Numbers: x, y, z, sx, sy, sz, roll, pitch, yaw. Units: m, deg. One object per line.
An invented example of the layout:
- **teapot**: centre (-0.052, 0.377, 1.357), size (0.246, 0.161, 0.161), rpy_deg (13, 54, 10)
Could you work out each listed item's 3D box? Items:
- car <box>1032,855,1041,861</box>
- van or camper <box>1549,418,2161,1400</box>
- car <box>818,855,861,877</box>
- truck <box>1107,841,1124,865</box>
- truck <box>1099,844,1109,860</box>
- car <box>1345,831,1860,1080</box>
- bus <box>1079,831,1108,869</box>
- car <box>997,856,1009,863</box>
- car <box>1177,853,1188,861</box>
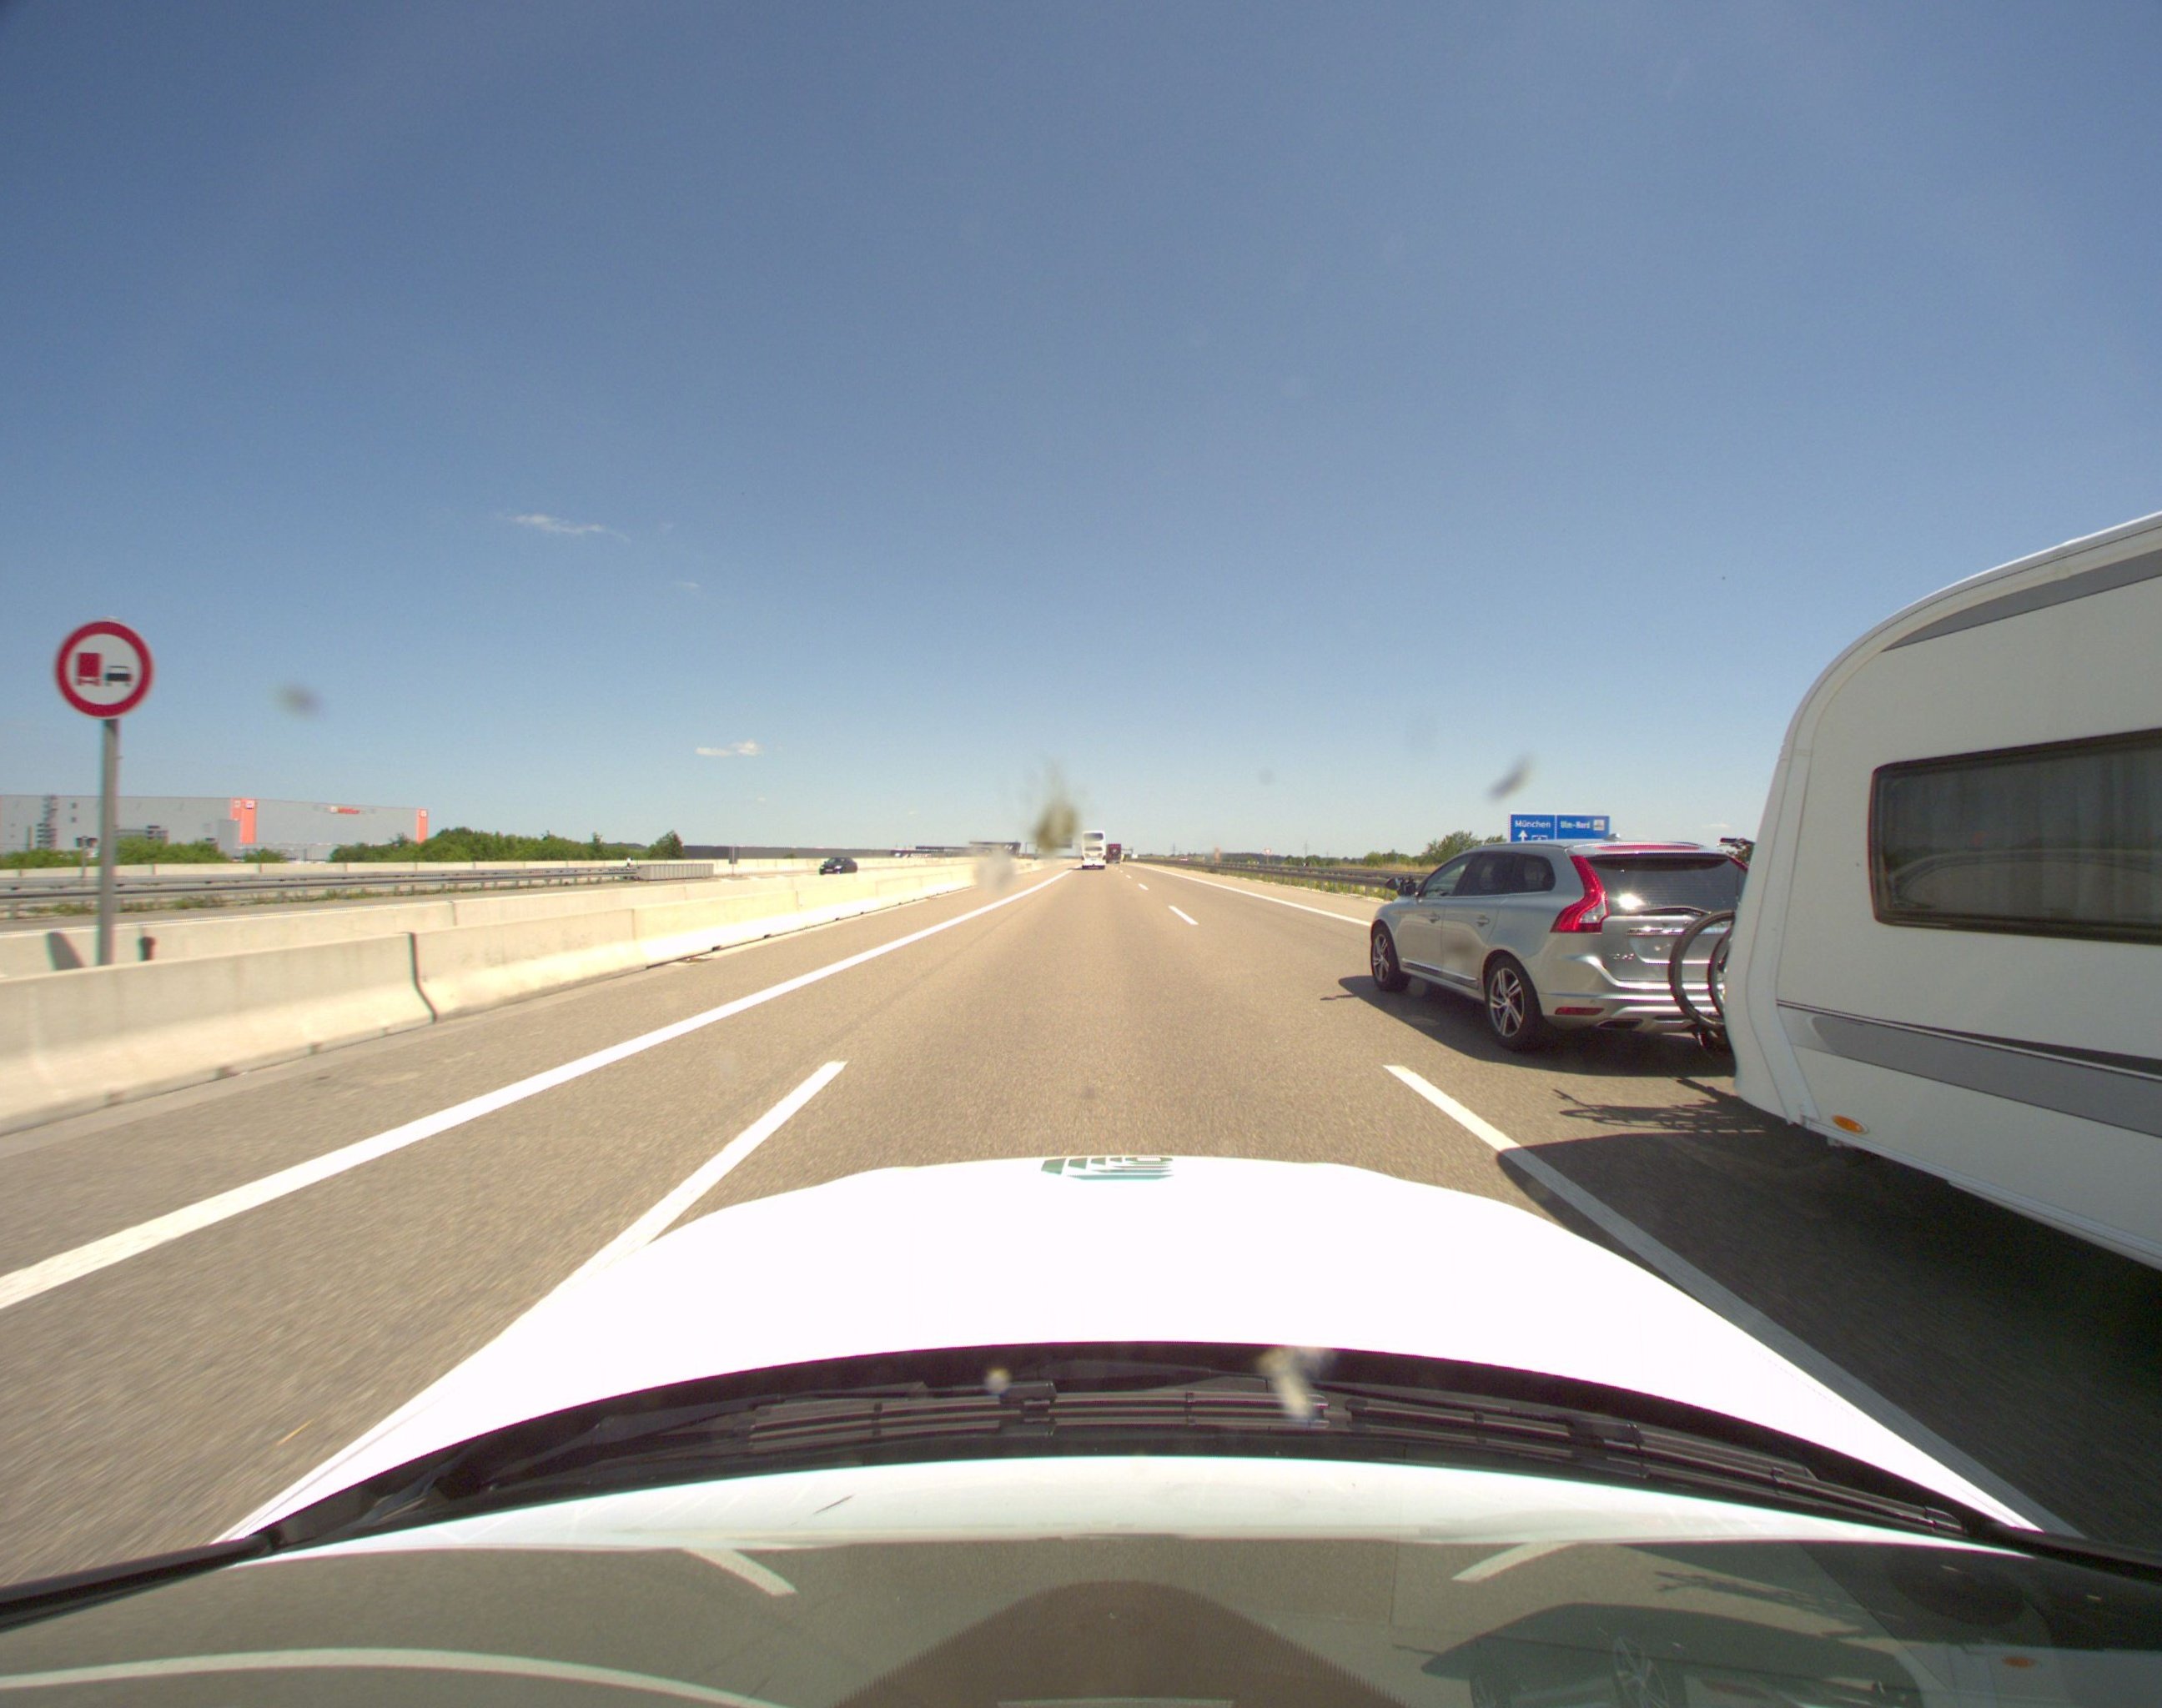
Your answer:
- **car**: centre (-11.083, 1.022, 204.307), size (1.905, 1.420, 4.910), rpy_deg (0, 0, 1)
- **van or camper**: centre (4.082, 0.148, 1.147), size (2.503, 2.593, 7.819), rpy_deg (0, 0, 1)
- **car**: centre (-17.780, 0.872, 60.275), size (1.726, 1.536, 4.550), rpy_deg (0, 0, 1)
- **truck**: centre (7.327, -0.127, 172.755), size (3.366, 4.464, 13.572), rpy_deg (0, -3, 3)
- **truck**: centre (5.787, -0.480, 204.682), size (2.430, 3.789, 6.492), rpy_deg (0, 0, 0)
- **car**: centre (4.206, 0.659, 7.781), size (1.874, 1.623, 4.905), rpy_deg (0, 0, 1)
- **bus**: centre (1.311, -0.414, 88.848), size (2.971, 3.975, 9.103), rpy_deg (0, 0, 0)
- **car**: centre (-15.802, 1.069, 165.505), size (1.904, 1.420, 4.551), rpy_deg (0, 0, 1)
- **car**: centre (20.745, 0.638, 166.638), size (1.885, 1.529, 4.261), rpy_deg (0, 0, 0)
